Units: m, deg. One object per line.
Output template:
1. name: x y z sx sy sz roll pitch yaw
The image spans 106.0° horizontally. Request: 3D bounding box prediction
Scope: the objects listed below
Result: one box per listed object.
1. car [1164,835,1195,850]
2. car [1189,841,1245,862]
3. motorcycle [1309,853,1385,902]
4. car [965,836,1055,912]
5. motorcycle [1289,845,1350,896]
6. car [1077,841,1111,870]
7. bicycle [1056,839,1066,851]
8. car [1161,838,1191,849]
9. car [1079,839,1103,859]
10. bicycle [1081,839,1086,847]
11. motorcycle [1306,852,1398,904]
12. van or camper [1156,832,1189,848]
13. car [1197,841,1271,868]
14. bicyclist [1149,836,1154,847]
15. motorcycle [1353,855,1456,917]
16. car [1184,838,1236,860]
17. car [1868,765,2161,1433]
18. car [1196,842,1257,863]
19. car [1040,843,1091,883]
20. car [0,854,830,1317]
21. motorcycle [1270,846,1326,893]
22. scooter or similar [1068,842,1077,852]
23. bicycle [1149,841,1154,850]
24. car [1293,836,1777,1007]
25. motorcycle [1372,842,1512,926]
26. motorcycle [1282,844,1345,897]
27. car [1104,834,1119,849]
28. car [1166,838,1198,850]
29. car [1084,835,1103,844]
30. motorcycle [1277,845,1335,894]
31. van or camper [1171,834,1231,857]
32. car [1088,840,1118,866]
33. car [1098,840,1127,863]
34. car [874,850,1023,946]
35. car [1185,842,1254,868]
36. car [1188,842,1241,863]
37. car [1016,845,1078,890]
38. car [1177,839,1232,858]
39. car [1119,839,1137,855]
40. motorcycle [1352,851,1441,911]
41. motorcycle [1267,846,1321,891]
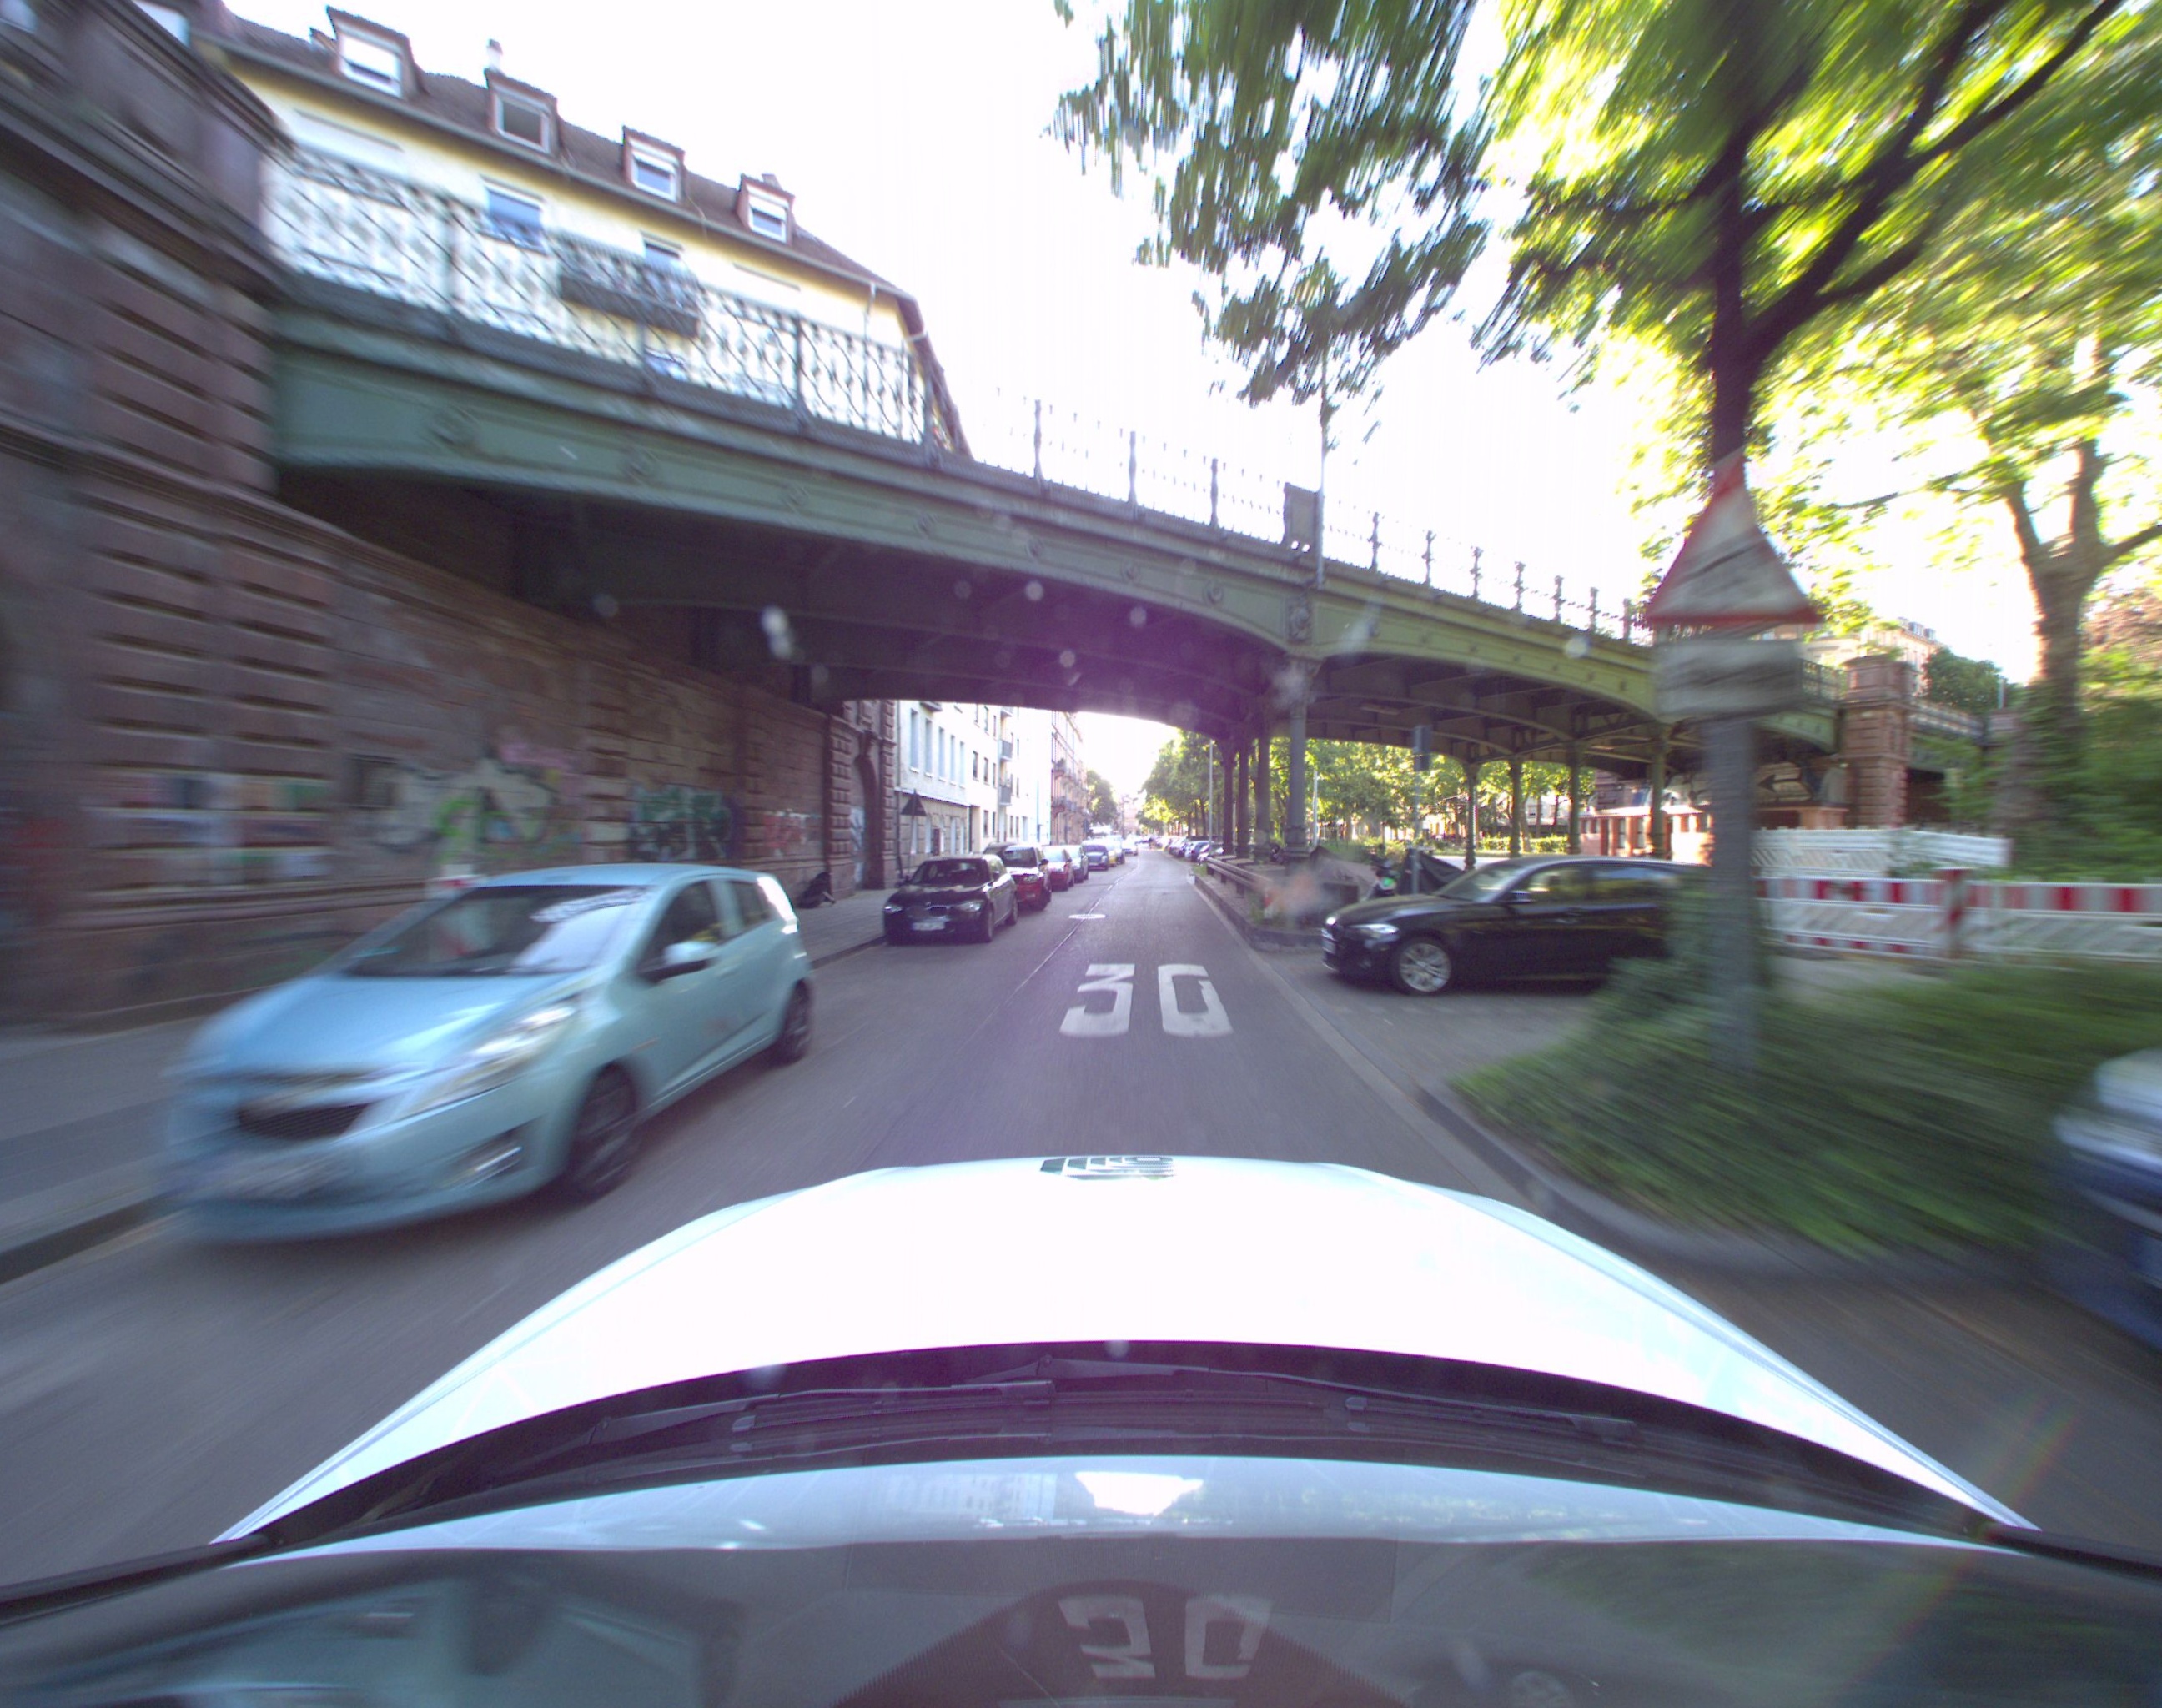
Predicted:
1. car: 13.602 -1.609 112.354 4.200 1.864 1.764 -1 1 4
2. car: 9.476 -0.179 56.722 3.760 1.447 1.668 0 -1 9
3. motorcycle: 6.442 0.559 19.751 1.601 1.132 0.709 2 -1 -13
4. car: -1.679 0.433 20.563 1.710 1.708 4.325 -1 1 2
5. motorcycle: 6.918 0.458 23.657 1.586 1.408 0.716 1 -1 24
6. car: 0.752 0.064 44.901 1.559 1.517 3.788 0 1 6
7. bicycle: -2.009 -0.920 84.030 0.733 1.206 2.518 1 2 5
8. car: 13.603 -1.501 116.818 4.196 1.453 1.653 -1 1 8
9. car: 0.850 -0.421 65.829 1.661 1.507 4.004 3 1 4
10. bicycle: 0.433 -1.738 125.095 0.702 1.147 1.890 1 0 1
11. motorcycle: 6.150 0.544 18.483 1.837 1.132 0.845 2 -1 -20
12. van or camper: 14.542 -2.179 129.324 4.962 2.377 2.186 1 -1 2
13. car: 8.398 0.037 44.864 3.770 1.472 1.635 0 -1 0
14. bicyclist: 9.956 -1.778 114.800 0.625 1.573 0.802 1 -1 2
15. motorcycle: 5.741 0.560 14.447 1.731 1.030 0.804 2 -1 -31
16. car: 9.815 -0.354 62.237 3.765 1.646 1.666 0 -1 4
17. car: 4.863 0.599 1.669 4.561 1.606 1.738 0 -1 7
18. car: 9.707 -0.093 54.376 3.770 1.401 1.766 0 0 0
19. car: -0.565 0.324 33.189 1.629 1.466 4.005 -3 1 5
20. car: -2.917 0.795 4.755 1.589 1.547 3.916 -1 0 1
21. motorcycle: 6.844 0.468 25.638 1.586 1.408 0.716 1 -1 24
22. scooter or similar: -1.061 -0.853 102.040 0.780 1.222 2.707 1 0 4
23. bicycle: 9.937 -1.188 114.740 0.638 1.100 1.945 1 0 3
24. car: 4.713 0.672 8.926 4.357 1.577 1.675 1 -1 2
25. motorcycle: 5.647 0.461 12.757 1.937 1.238 0.898 2 -1 -22
26. motorcycle: 6.499 0.441 22.769 1.586 1.408 0.716 1 -1 24
27. car: 4.315 -1.730 115.272 1.985 1.921 5.043 1 0 3
28. car: 13.217 -1.287 106.881 4.066 1.442 1.762 -1 1 1
29. car: 2.788 -3.090 176.815 3.968 1.706 2.003 1 -1 5
30. motorcycle: 6.838 0.462 24.767 1.586 1.408 0.716 1 -1 24
31. van or camper: 11.013 -0.796 74.907 5.386 2.027 2.033 0 2 6
32. car: 1.408 -0.106 50.092 1.695 1.525 3.777 0 1 3
33. car: 2.154 -0.171 54.931 1.731 1.479 4.006 -1 1 5
34. car: -2.221 0.676 14.713 1.709 1.464 4.005 -1 1 5
35. car: 7.912 0.065 46.815 3.764 1.401 1.830 0 0 5
36. car: 9.716 -0.081 59.599 3.763 1.473 1.667 0 -1 6
37. car: -1.109 0.406 28.092 1.681 1.441 4.005 0 1 4
38. car: 10.154 -0.443 67.065 4.374 1.577 1.668 0 -1 8
39. car: 4.666 -0.701 80.723 1.660 1.430 4.006 -2 2 5
40. motorcycle: 6.257 0.533 16.119 1.731 1.132 0.705 2 -1 -31
41. motorcycle: 6.973 0.477 26.645 1.586 1.408 0.716 1 -1 24
